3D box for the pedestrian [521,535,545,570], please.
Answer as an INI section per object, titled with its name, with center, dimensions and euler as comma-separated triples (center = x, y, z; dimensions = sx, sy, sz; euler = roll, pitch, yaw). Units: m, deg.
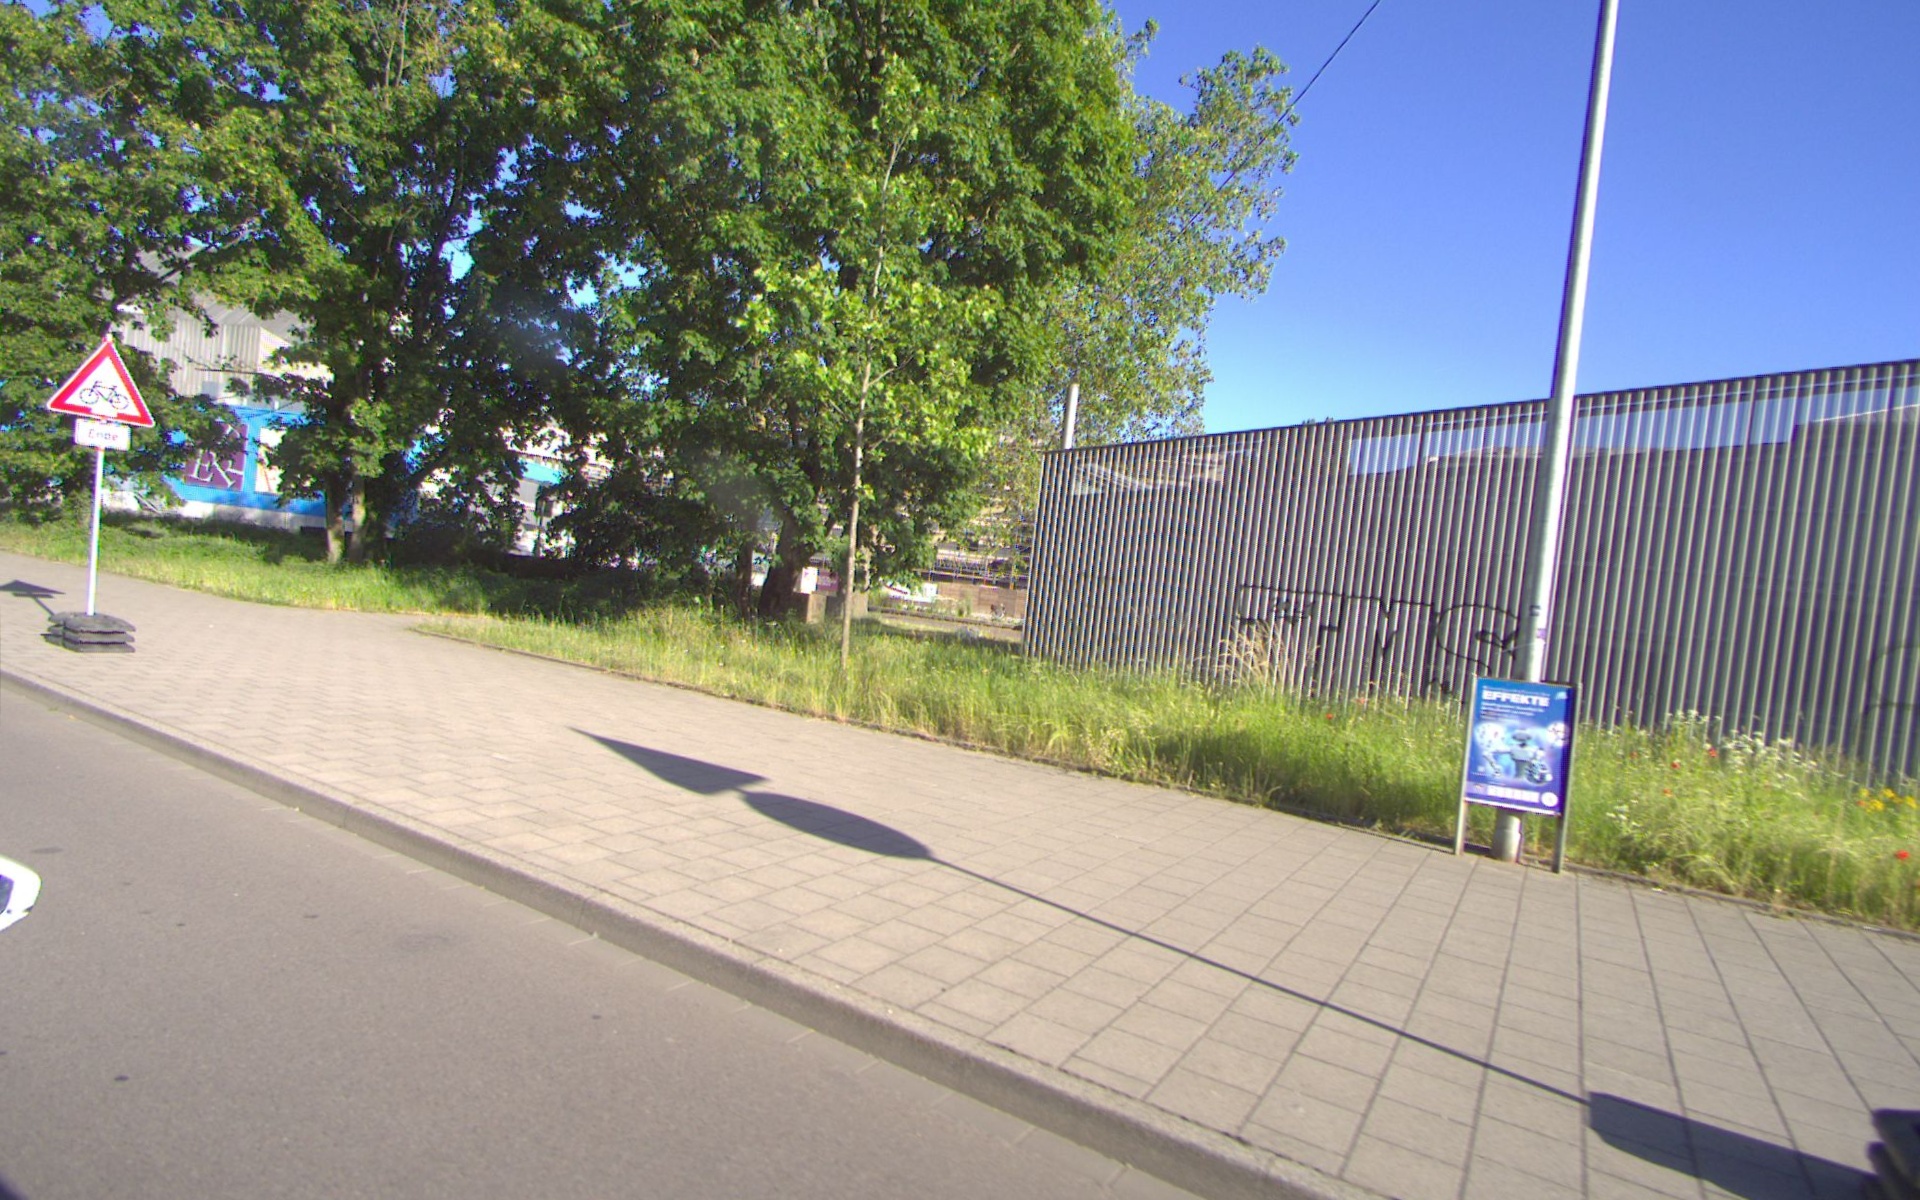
[pedestrian]
center = -26.510, -2.940, 62.421
dimensions = 0.932, 2.039, 0.913
euler = 5, 0, 3
